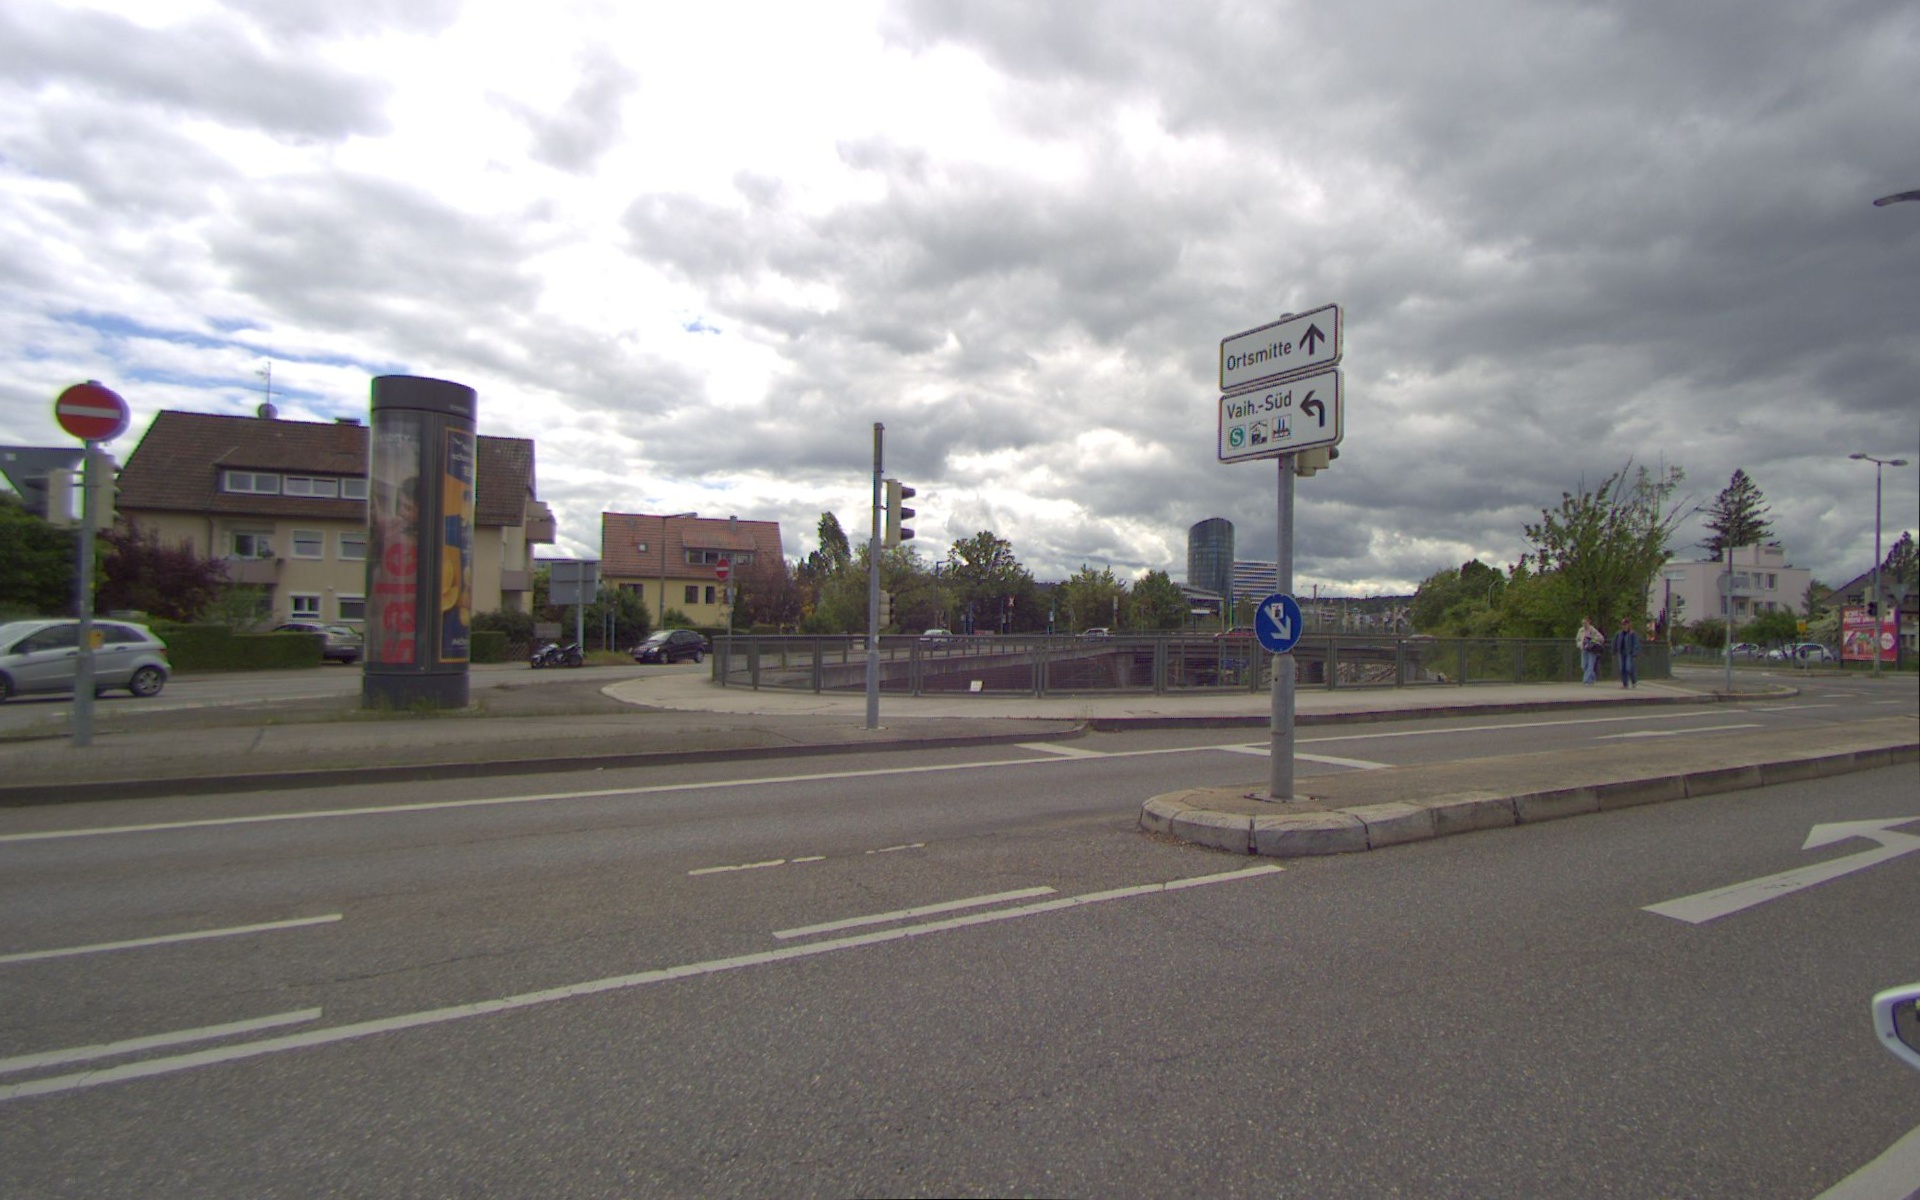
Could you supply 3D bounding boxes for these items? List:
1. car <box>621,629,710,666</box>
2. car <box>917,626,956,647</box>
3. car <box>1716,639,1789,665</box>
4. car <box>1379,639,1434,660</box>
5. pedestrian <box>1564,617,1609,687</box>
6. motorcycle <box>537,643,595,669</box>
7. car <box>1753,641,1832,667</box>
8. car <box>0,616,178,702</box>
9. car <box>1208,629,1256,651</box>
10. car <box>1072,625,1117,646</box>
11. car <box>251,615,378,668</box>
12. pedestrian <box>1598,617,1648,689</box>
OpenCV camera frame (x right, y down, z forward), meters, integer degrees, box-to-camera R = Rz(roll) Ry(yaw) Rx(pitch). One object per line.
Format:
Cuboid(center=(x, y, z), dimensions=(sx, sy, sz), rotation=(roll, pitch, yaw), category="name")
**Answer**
Cuboid(center=(-13.939, 2.227, 47.778), dimensions=(1.960, 1.628, 4.378), rotation=(0, -2, 17), category="car")
Cuboid(center=(-1.852, 2.894, 80.020), dimensions=(1.862, 1.628, 4.378), rotation=(0, -2, 16), category="car")
Cuboid(center=(56.391, 3.717, 71.485), dimensions=(3.924, 1.741, 1.801), rotation=(1, -1, -5), category="car")
Cuboid(center=(38.266, 4.229, 86.142), dimensions=(3.919, 1.592, 1.893), rotation=(2, 1, 12), category="car")
Cuboid(center=(15.330, 1.254, 24.570), dimensions=(0.825, 1.655, 0.651), rotation=(2, 0, -37), category="pedestrian")
Cuboid(center=(-16.132, 2.290, 41.195), dimensions=(2.084, 1.012, 0.702), rotation=(1, -5, -12), category="motorcycle")
Cuboid(center=(55.461, 3.593, 66.935), dimensions=(3.924, 1.574, 1.801), rotation=(1, -1, -5), category="car")
Cuboid(center=(-17.999, 1.150, 19.618), dimensions=(1.614, 1.555, 4.133), rotation=(-1, -3, 14), category="car")
Cuboid(center=(24.585, 3.607, 90.818), dimensions=(3.921, 1.684, 1.798), rotation=(3, 2, 20), category="car")
Cuboid(center=(12.820, 3.383, 95.866), dimensions=(3.934, 1.685, 1.730), rotation=(4, 2, 36), category="car")
Cuboid(center=(-23.371, 1.463, 36.403), dimensions=(3.920, 1.602, 1.787), rotation=(3, 2, 18), category="car")
Cuboid(center=(15.816, 1.245, 23.972), dimensions=(1.061, 1.655, 0.651), rotation=(2, 0, -37), category="pedestrian")
